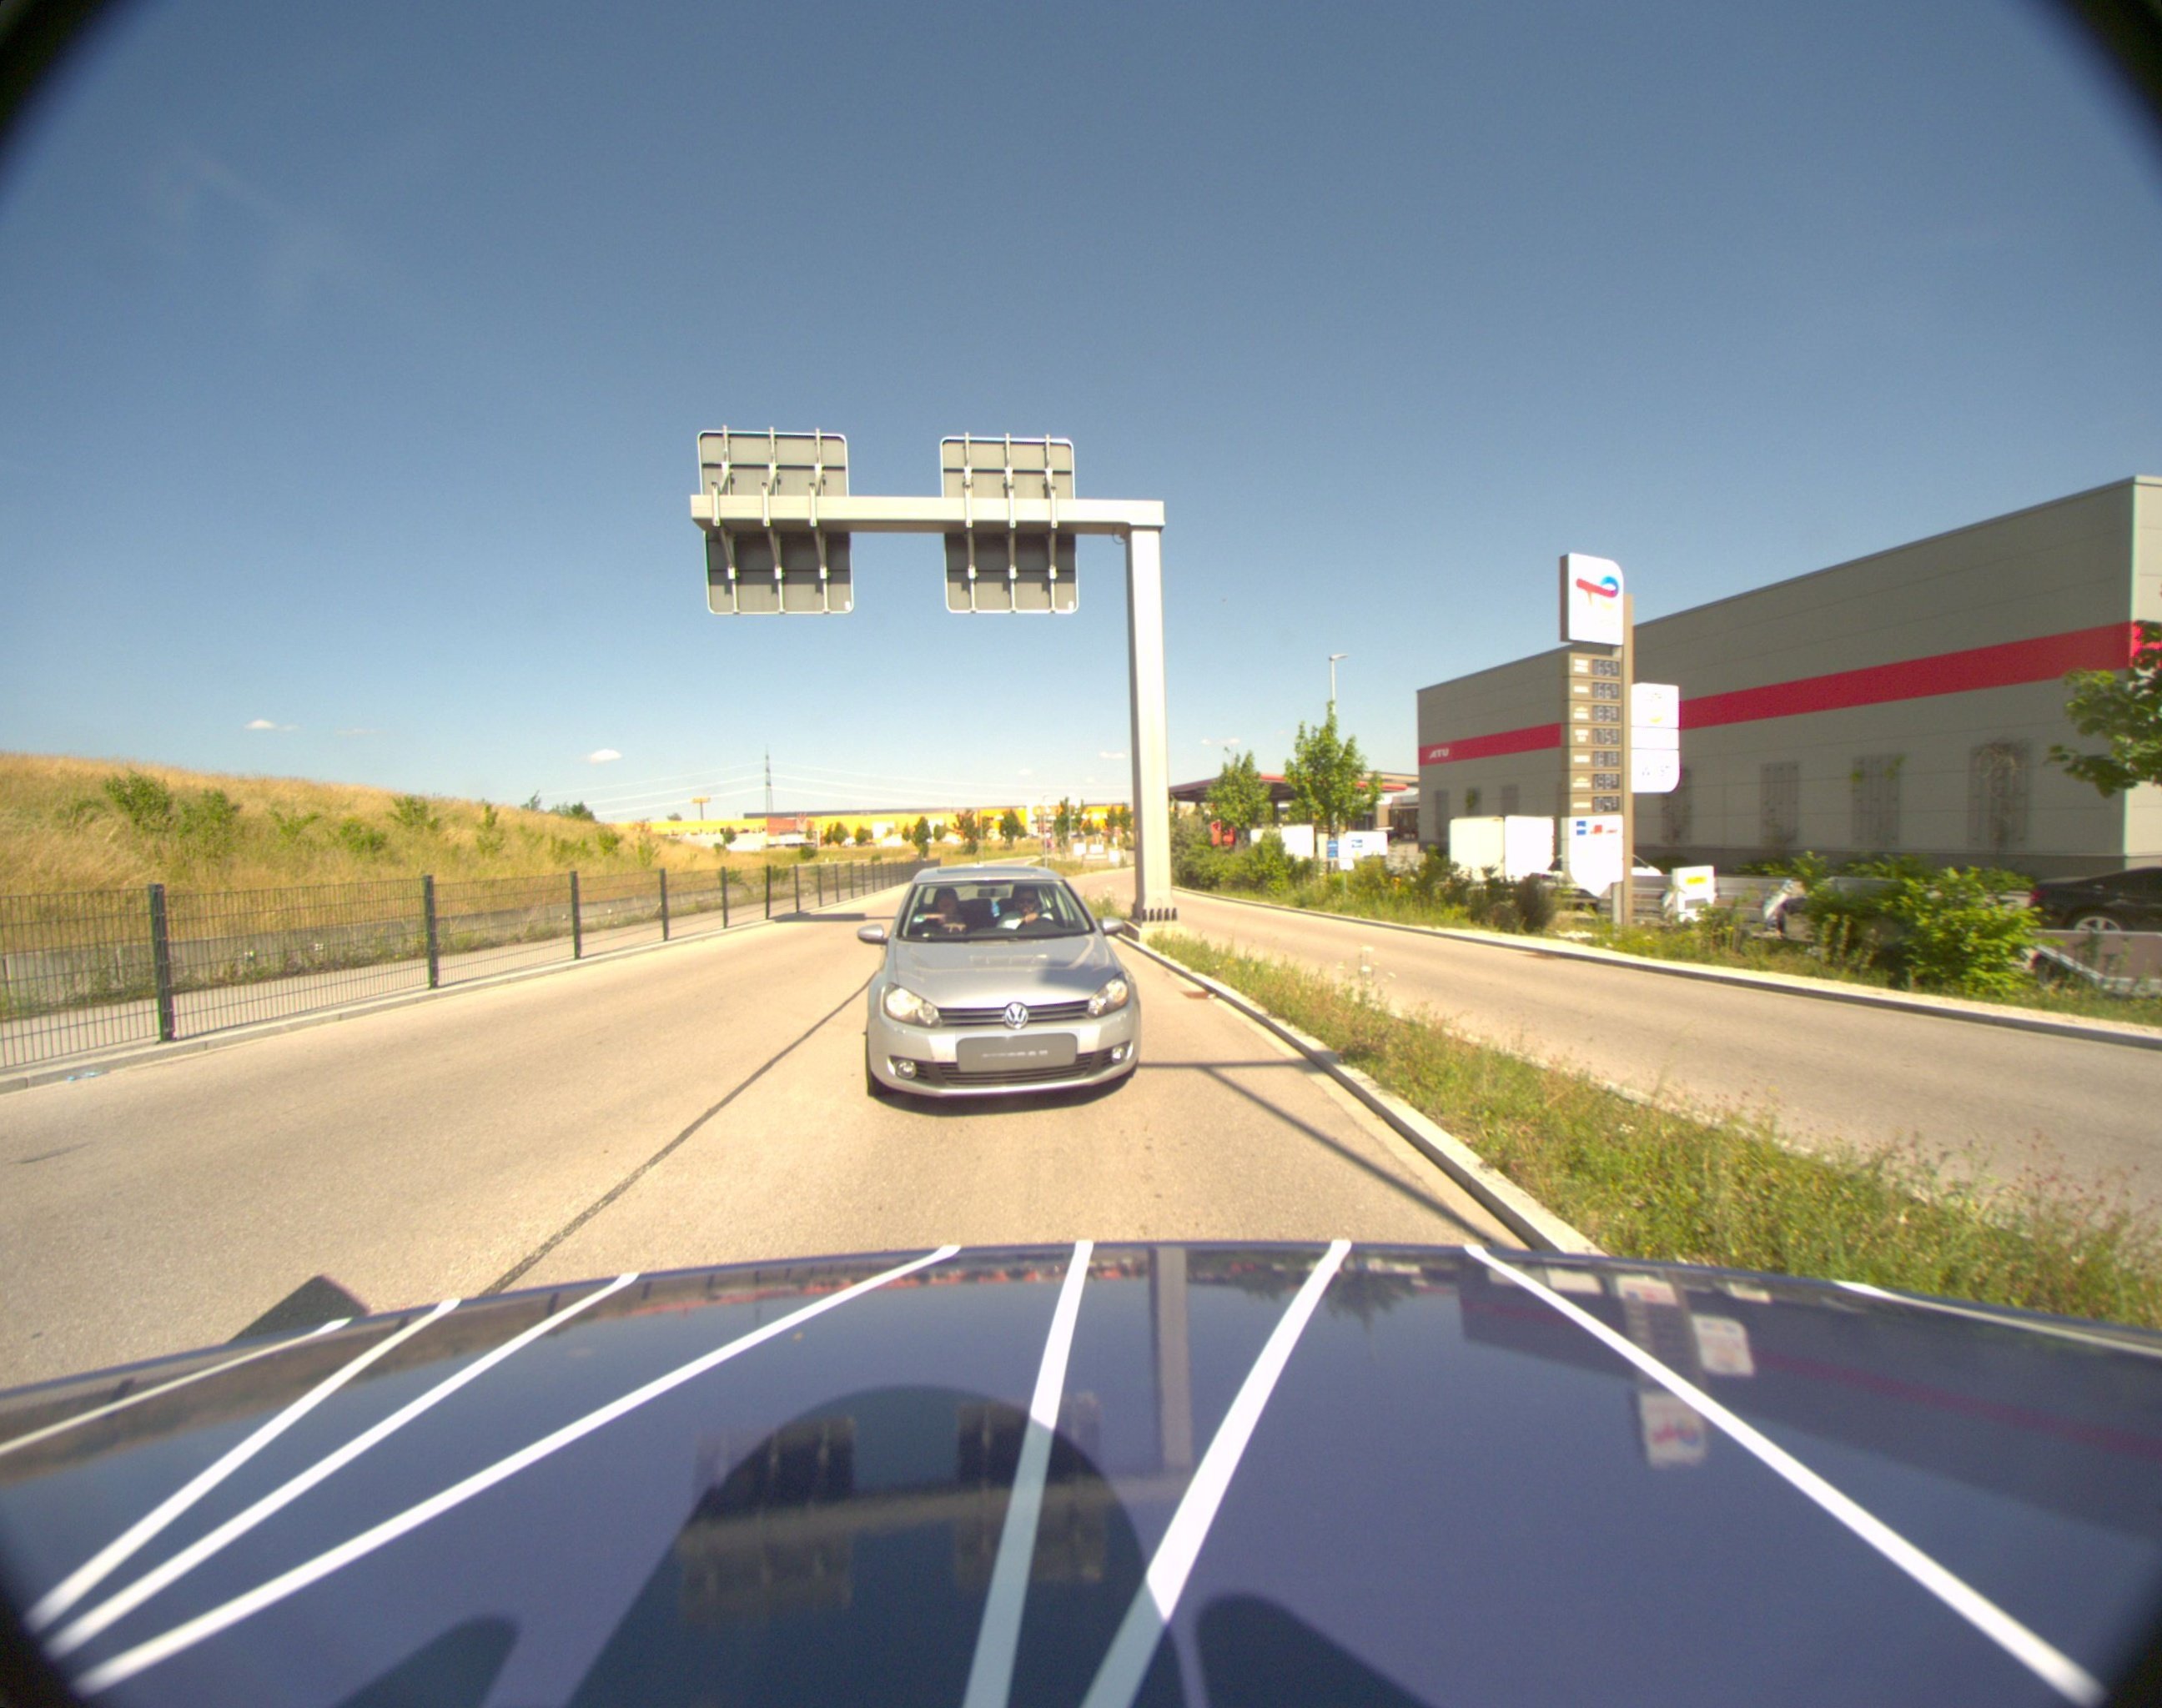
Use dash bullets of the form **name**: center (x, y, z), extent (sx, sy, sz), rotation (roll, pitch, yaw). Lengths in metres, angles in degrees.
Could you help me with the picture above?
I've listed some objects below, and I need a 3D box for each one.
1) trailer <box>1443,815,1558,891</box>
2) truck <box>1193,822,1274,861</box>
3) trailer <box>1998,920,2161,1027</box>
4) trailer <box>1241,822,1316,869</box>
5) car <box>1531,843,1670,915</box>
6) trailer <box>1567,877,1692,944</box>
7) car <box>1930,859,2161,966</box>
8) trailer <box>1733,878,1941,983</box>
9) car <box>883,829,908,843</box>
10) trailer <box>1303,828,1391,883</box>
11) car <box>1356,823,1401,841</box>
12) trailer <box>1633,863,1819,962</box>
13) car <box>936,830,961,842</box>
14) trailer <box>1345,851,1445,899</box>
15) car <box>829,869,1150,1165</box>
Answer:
- **trailer**: center (12.270, -0.077, 22.186), extent (3.245, 2.002, 1.743), rotation (-4, 2, -38)
- **truck**: center (14.380, -1.211, 71.727), extent (6.910, 3.299, 2.637), rotation (-3, 2, -17)
- **trailer**: center (13.410, 1.495, 9.883), extent (2.842, 0.877, 1.861), rotation (-4, 2, -39)
- **trailer**: center (9.246, -0.408, 35.434), extent (1.994, 2.002, 3.212), rotation (-1, 2, 44)
- **car**: center (13.538, 0.584, 19.737), extent (4.006, 1.527, 1.714), rotation (-3, 2, -36)
- **trailer**: center (11.339, 1.105, 15.683), extent (2.780, 1.080, 1.317), rotation (-4, 2, -37)
- **car**: center (16.996, 0.895, 12.058), extent (1.803, 1.475, 4.494), rotation (-3, 1, -6)
- **trailer**: center (12.304, 1.166, 12.375), extent (2.915, 1.314, 1.387), rotation (-3, 2, -22)
- **car**: center (-36.569, -3.492, 149.926), extent (4.637, 2.534, 1.998), rotation (-3, 2, -11)
- **trailer**: center (10.563, 0.036, 30.217), extent (2.741, 2.002, 1.995), rotation (-4, 2, -34)
- **car**: center (29.194, -2.180, 74.669), extent (3.683, 1.566, 1.695), rotation (-3, 2, -1)
- **trailer**: center (11.987, 0.994, 14.110), extent (3.195, 1.475, 1.545), rotation (-3, 2, -28)
- **car**: center (-26.434, -3.596, 151.488), extent (4.637, 2.002, 1.998), rotation (-3, 2, -11)
- **trailer**: center (11.524, 0.725, 27.806), extent (3.605, 1.502, 1.596), rotation (-3, 1, -34)
- **car**: center (-0.744, 0.921, 6.150), extent (1.747, 1.459, 3.957), rotation (0, 1, -8)
